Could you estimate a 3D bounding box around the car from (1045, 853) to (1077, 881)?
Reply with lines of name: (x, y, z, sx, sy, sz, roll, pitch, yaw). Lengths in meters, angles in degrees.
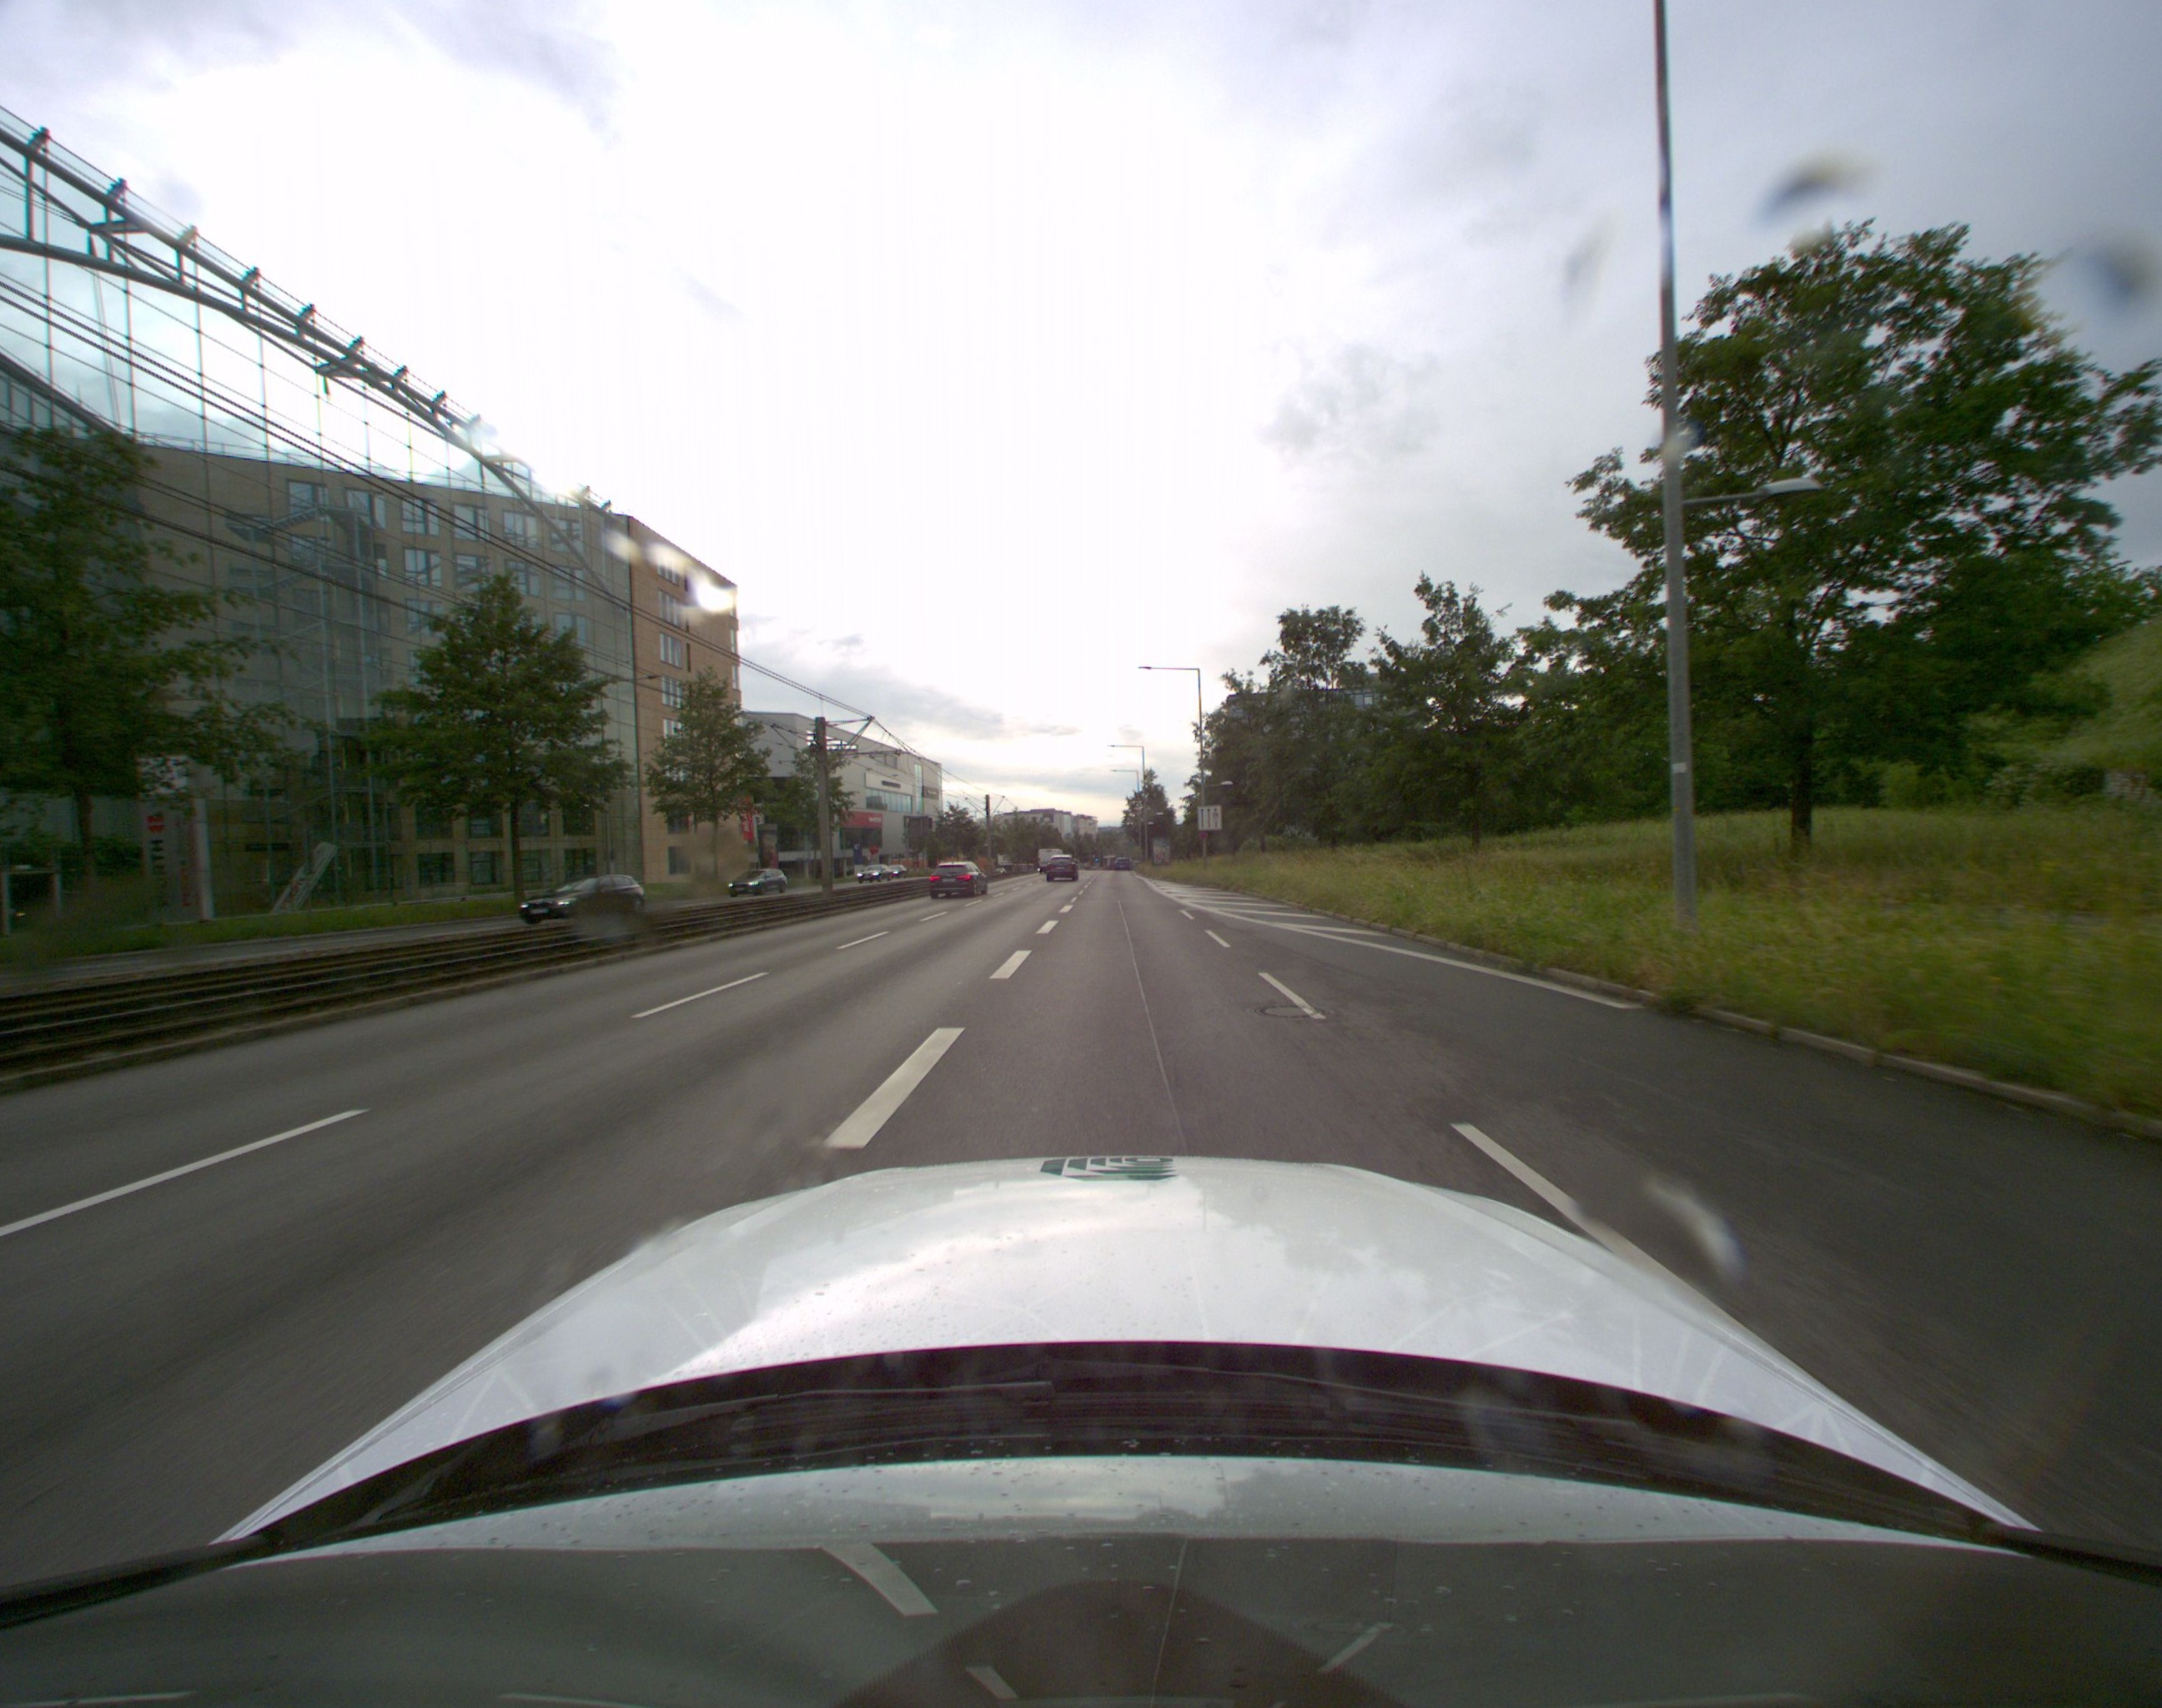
car: (-1.255, 0.787, 52.081, 1.917, 1.710, 4.096, 0, 0, -1)

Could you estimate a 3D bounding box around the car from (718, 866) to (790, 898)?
car: (-18.236, 1.523, 45.655, 1.834, 1.486, 4.656, -5, 0, 2)

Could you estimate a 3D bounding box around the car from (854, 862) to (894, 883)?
car: (-17.267, 1.504, 68.060, 1.834, 1.486, 4.656, -5, 0, 2)

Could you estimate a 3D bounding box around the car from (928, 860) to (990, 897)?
car: (-4.938, 0.960, 33.651, 1.780, 1.414, 4.806, -1, 0, 1)

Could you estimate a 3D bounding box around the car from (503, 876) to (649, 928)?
car: (-15.820, 1.476, 25.813, 1.764, 1.502, 4.204, -1, -2, 4)

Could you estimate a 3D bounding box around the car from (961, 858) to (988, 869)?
car: (-21.619, 1.931, 165.907, 5.291, 2.313, 2.017, 0, -2, -3)

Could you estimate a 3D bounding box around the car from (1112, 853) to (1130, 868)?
car: (4.569, 0.716, 93.495, 1.784, 1.591, 3.997, -3, -1, -1)

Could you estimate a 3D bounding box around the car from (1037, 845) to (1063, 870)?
car: (-2.860, 0.329, 76.638, 2.261, 2.285, 4.757, 0, 0, -1)

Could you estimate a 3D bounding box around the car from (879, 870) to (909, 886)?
car: (-19.606, 2.505, 85.620, 1.834, 1.486, 4.433, -5, 0, 2)
